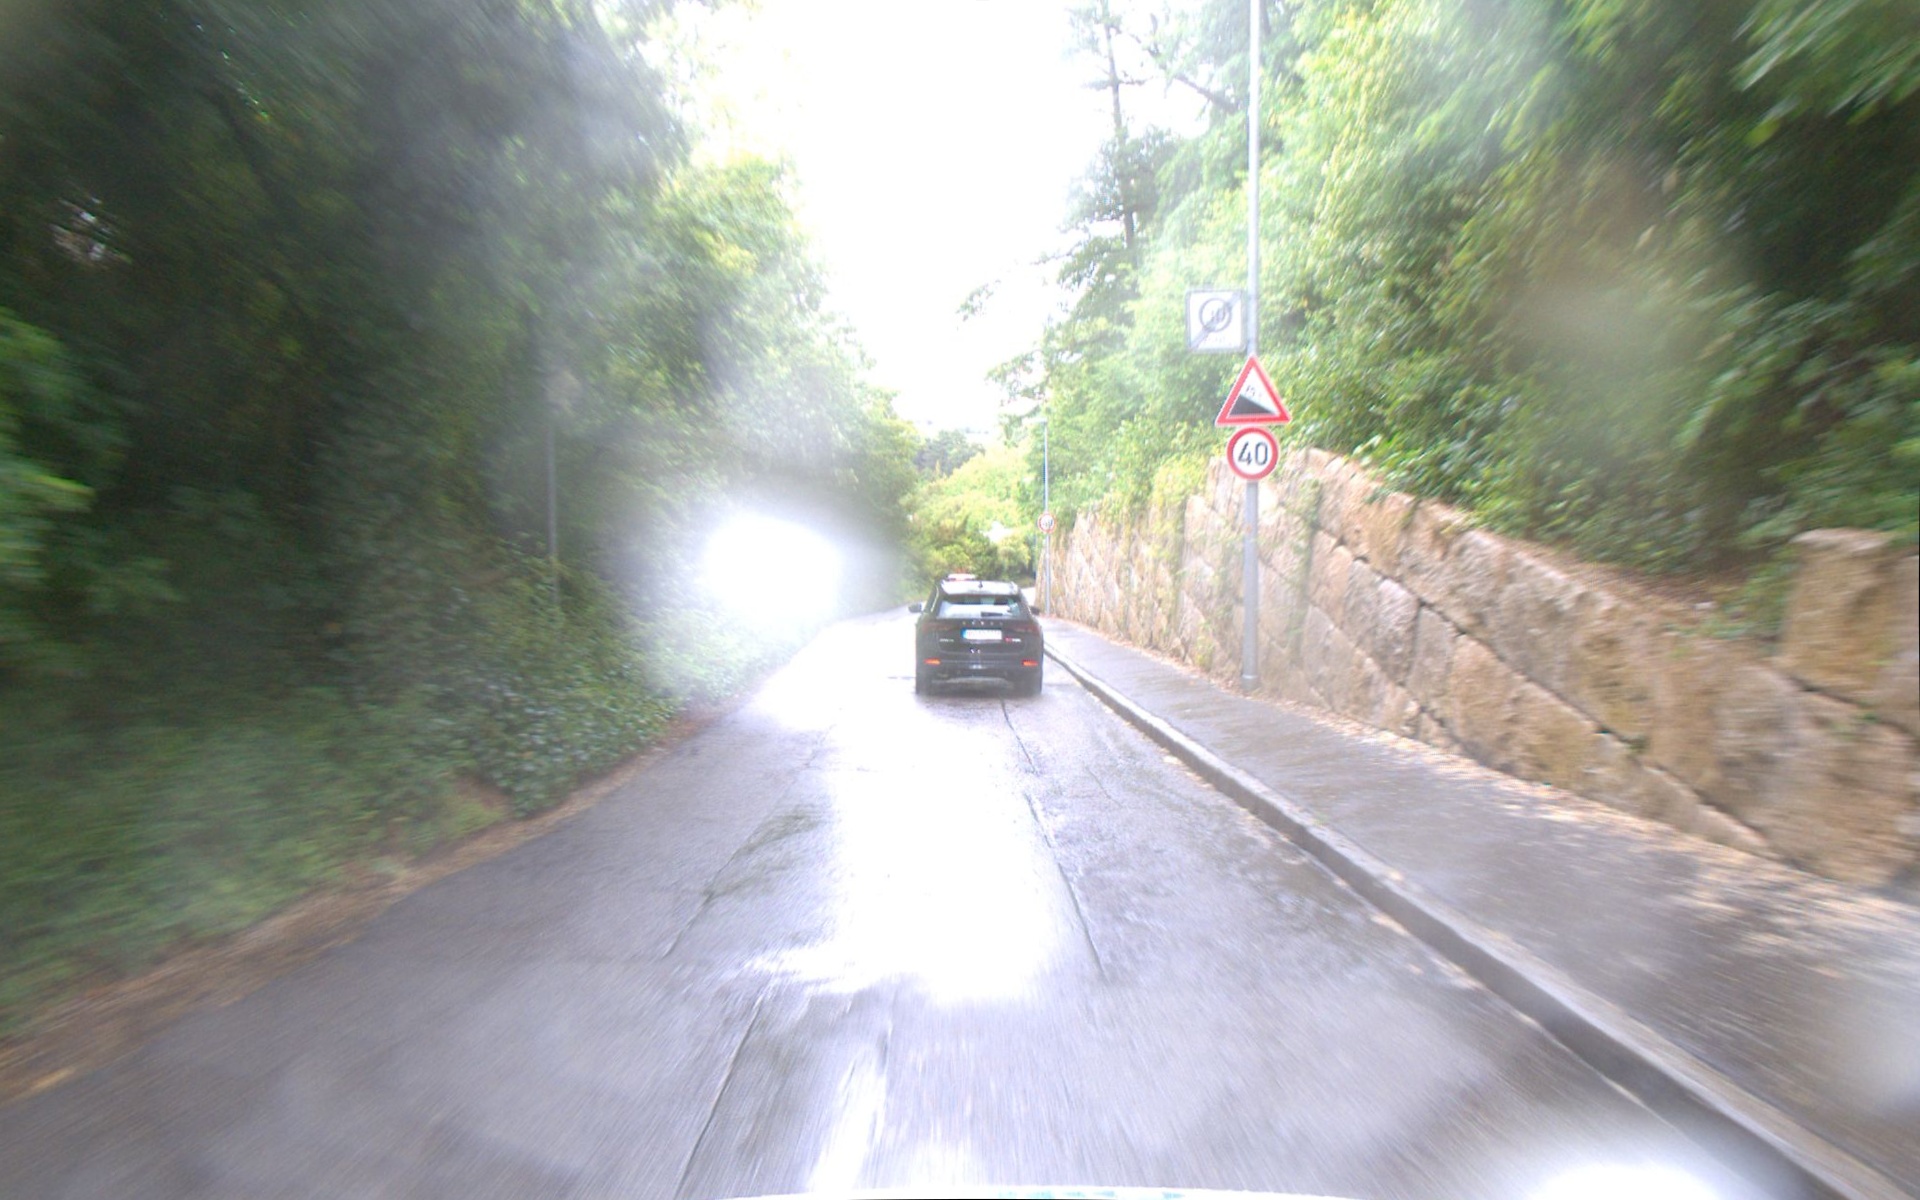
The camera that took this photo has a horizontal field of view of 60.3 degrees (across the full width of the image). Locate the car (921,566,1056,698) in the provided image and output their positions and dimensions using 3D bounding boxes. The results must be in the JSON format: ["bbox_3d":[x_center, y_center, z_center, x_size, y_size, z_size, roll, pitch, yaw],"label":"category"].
[{"bbox_3d":[0.316,0.367,23.190,1.665,1.475,4.000,0,4,-2],"label":"car"}]

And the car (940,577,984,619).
[{"bbox_3d":[0.060,-0.094,74.803,1.825,1.773,3.999,2,0,-2],"label":"car"}]
